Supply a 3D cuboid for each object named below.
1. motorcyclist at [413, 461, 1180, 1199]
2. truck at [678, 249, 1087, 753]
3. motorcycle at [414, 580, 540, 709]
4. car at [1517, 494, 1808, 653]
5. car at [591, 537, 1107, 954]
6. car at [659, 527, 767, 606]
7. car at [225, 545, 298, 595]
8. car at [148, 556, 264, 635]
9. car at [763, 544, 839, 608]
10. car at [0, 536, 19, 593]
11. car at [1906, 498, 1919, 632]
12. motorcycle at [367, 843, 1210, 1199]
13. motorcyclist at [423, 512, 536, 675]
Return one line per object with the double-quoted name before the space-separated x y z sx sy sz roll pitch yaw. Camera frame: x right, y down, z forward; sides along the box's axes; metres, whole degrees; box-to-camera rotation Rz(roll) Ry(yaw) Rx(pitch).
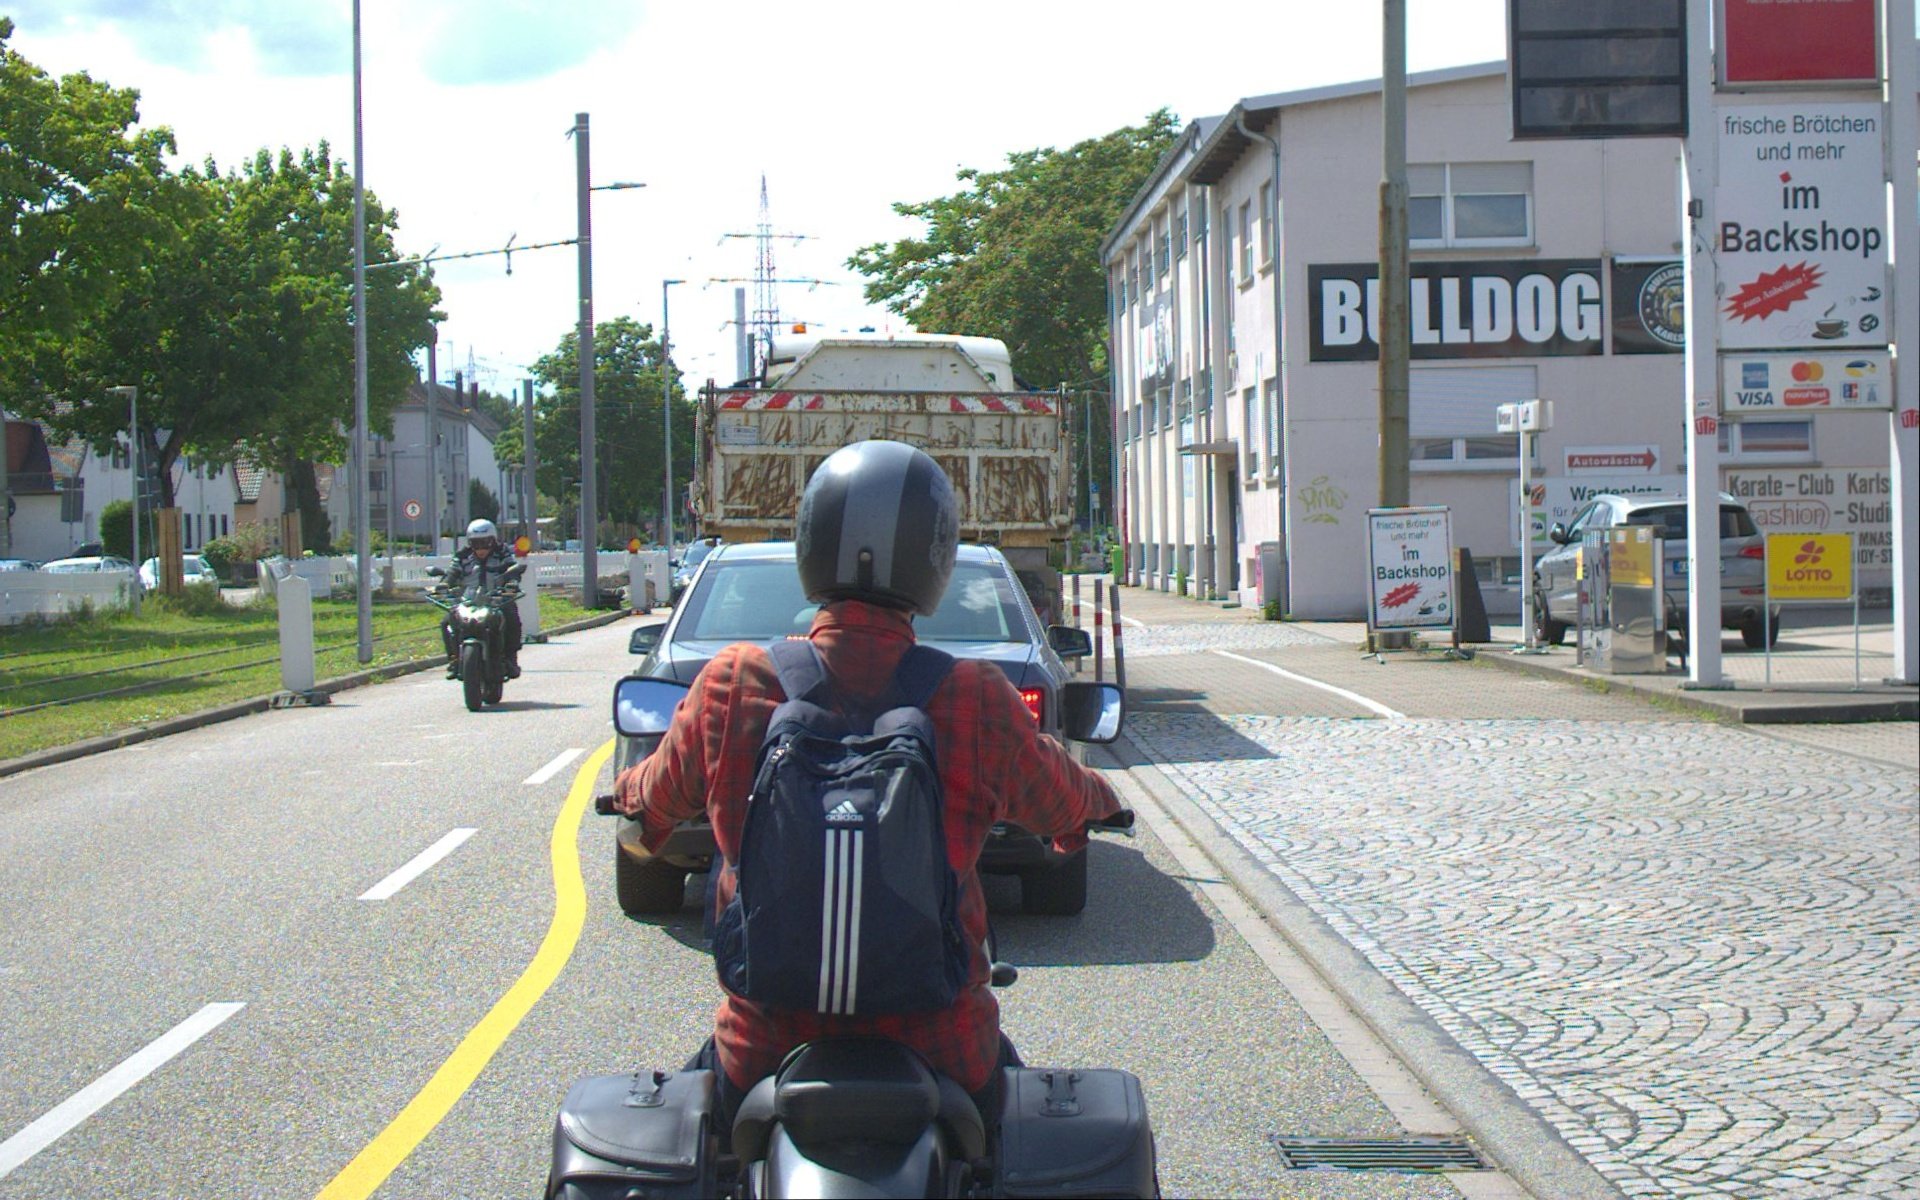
"motorcyclist" -0.211 0.615 5.029 0.979 1.597 1.088 -1 1 -1
"truck" -0.554 -0.746 26.798 2.638 3.285 8.057 -1 1 -1
"motorcycle" -4.128 0.361 29.527 0.868 1.017 2.245 -1 1 -3
"car" 7.383 -0.307 36.523 1.667 1.557 4.245 -1 1 -8
"car" -0.419 0.486 14.288 1.823 1.447 4.000 1 1 -1
"car" -4.864 -0.683 68.097 1.823 1.447 4.324 -2 1 -1
"car" -25.418 -1.102 125.242 1.776 1.717 4.128 -1 1 0
"car" -17.494 -0.131 79.961 1.776 1.717 4.128 -1 1 0
"car" -4.229 -0.666 92.153 1.823 1.596 4.324 -2 1 -1
"car" -30.043 -1.062 104.406 1.776 1.717 4.128 -1 1 0
"car" 11.738 -0.382 37.092 1.806 1.498 3.834 -1 1 -3
"motorcycle" -0.207 0.958 5.340 0.979 0.894 2.653 -1 1 -1
"motorcyclist" -4.143 -0.063 29.685 0.868 1.373 0.800 -1 1 -3
